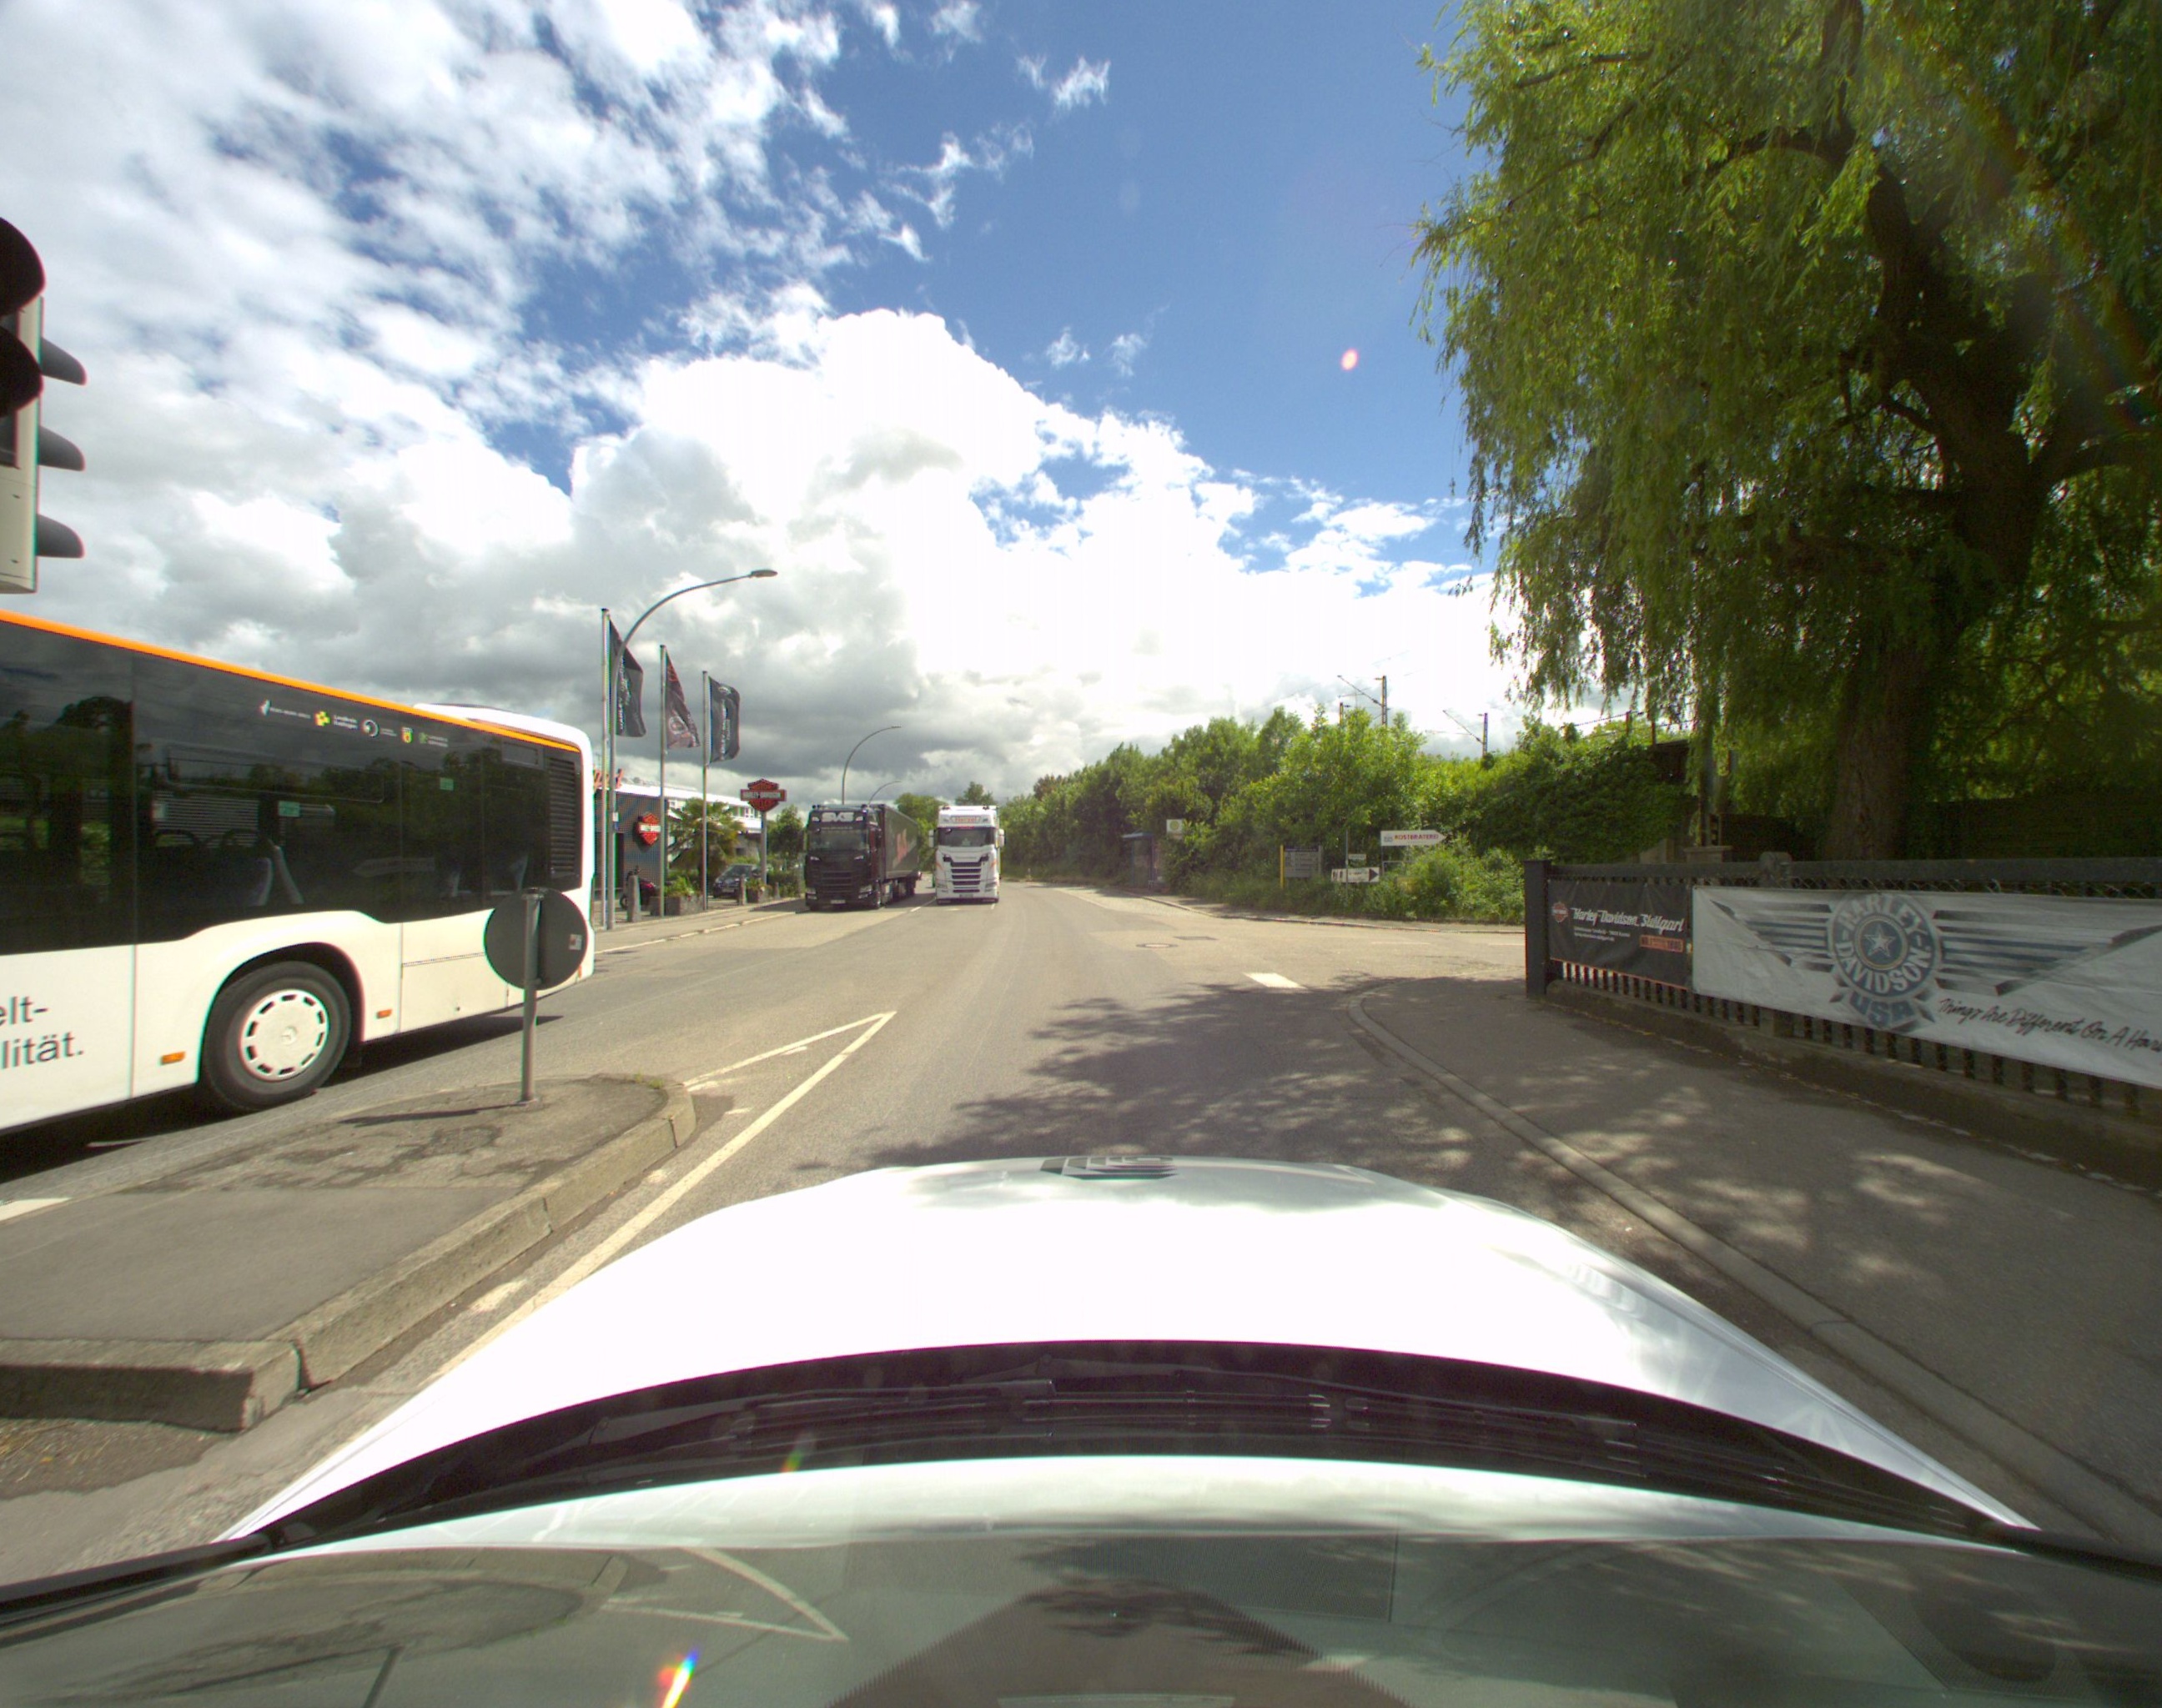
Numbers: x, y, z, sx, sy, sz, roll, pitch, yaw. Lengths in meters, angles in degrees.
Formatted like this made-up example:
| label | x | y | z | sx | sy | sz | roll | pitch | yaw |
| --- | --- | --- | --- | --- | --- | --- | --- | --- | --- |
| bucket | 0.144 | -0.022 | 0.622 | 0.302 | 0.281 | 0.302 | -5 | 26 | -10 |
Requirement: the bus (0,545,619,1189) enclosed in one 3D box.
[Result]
| label | x | y | z | sx | sy | sz | roll | pitch | yaw |
| --- | --- | --- | --- | --- | --- | --- | --- | --- | --- |
| bus | -6.439 | 0.059 | 2.823 | 2.710 | 3.031 | 12.261 | -1 | -1 | 0 |

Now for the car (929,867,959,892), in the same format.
| label | x | y | z | sx | sy | sz | roll | pitch | yaw |
| --- | --- | --- | --- | --- | --- | --- | --- | --- | --- |
| car | -9.729 | 1.772 | 57.643 | 1.994 | 1.706 | 3.985 | 0 | -1 | -11 |

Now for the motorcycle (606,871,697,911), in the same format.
| label | x | y | z | sx | sy | sz | roll | pitch | yaw |
| --- | --- | --- | --- | --- | --- | --- | --- | --- | --- |
| motorcycle | -14.256 | 1.231 | 27.097 | 2.555 | 1.306 | 0.848 | 0 | -1 | 0 |

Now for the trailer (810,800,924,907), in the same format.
| label | x | y | z | sx | sy | sz | roll | pitch | yaw |
| --- | --- | --- | --- | --- | --- | --- | --- | --- | --- |
| trailer | -9.599 | 0.127 | 38.631 | 2.795 | 4.053 | 15.522 | 0 | -1 | -6 |

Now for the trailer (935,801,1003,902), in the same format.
| label | x | y | z | sx | sy | sz | roll | pitch | yaw |
| --- | --- | --- | --- | --- | --- | --- | --- | --- | --- |
| trailer | -5.650 | 0.042 | 41.254 | 2.769 | 4.145 | 15.306 | 0 | -1 | -8 |

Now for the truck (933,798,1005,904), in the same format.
| label | x | y | z | sx | sy | sz | roll | pitch | yaw |
| --- | --- | --- | --- | --- | --- | --- | --- | --- | --- |
| truck | -4.715 | -0.084 | 34.287 | 2.770 | 4.120 | 4.972 | 0 | -1 | -8 |

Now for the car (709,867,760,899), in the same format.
| label | x | y | z | sx | sy | sz | roll | pitch | yaw |
| --- | --- | --- | --- | --- | --- | --- | --- | --- | --- |
| car | -15.287 | 1.279 | 36.029 | 1.040 | 1.364 | 2.688 | 0 | -1 | 1 |

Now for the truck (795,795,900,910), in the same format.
| label | x | y | z | sx | sy | sz | roll | pitch | yaw |
| --- | --- | --- | --- | --- | --- | --- | --- | --- | --- |
| truck | -8.921 | 0.005 | 31.890 | 2.795 | 4.053 | 6.487 | 0 | -1 | -6 |

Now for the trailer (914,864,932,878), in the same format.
| label | x | y | z | sx | sy | sz | roll | pitch | yaw |
| --- | --- | --- | --- | --- | --- | --- | --- | --- | --- |
| trailer | -16.300 | 1.751 | 84.145 | 1.648 | 1.423 | 3.986 | -1 | 0 | -10 |
